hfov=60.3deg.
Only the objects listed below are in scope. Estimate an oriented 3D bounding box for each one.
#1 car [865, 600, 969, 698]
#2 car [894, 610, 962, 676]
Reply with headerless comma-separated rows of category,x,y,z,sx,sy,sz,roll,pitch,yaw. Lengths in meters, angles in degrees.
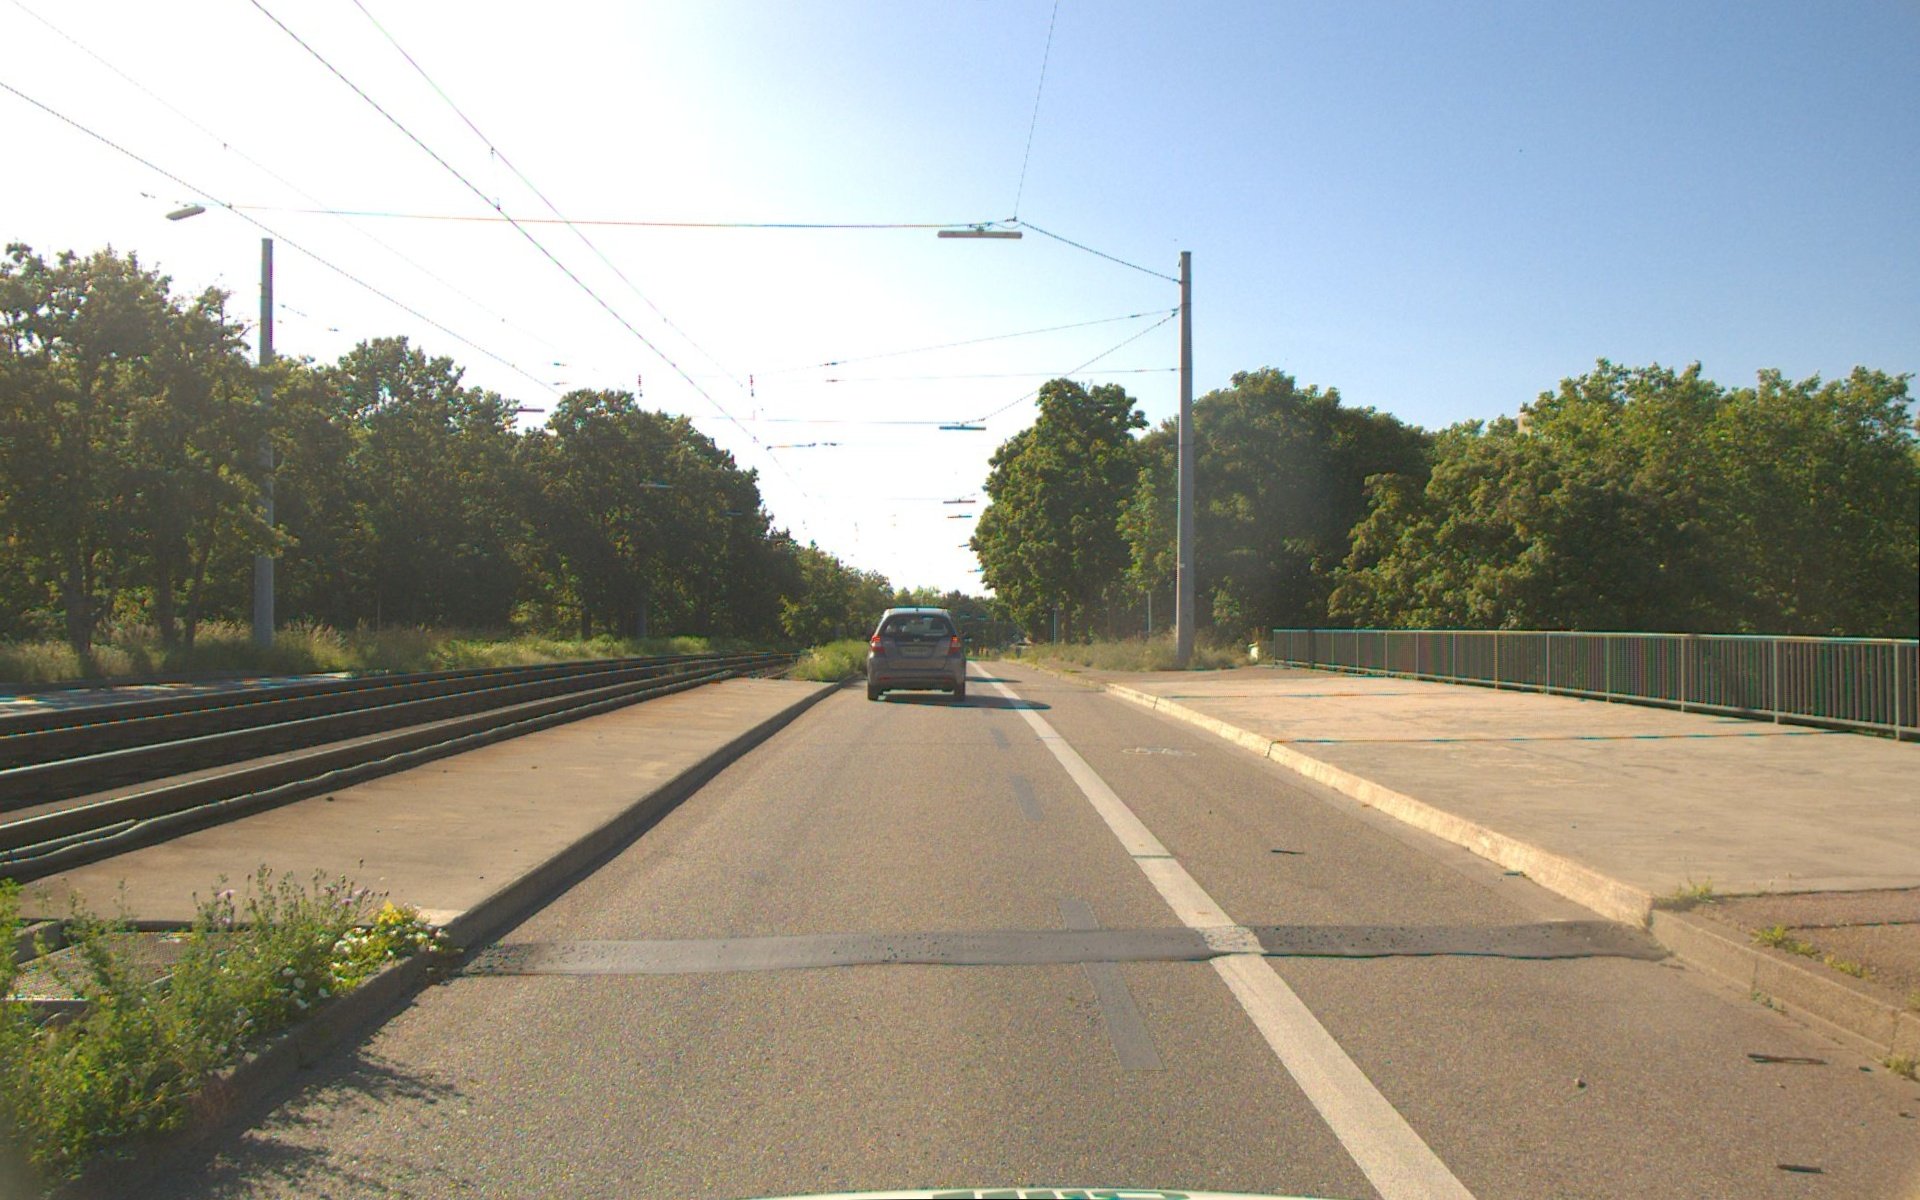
car,-0.693,0.828,28.674,1.636,1.534,3.810,2,-1,0
car,-0.784,1.071,42.625,1.621,1.534,3.811,2,0,0
